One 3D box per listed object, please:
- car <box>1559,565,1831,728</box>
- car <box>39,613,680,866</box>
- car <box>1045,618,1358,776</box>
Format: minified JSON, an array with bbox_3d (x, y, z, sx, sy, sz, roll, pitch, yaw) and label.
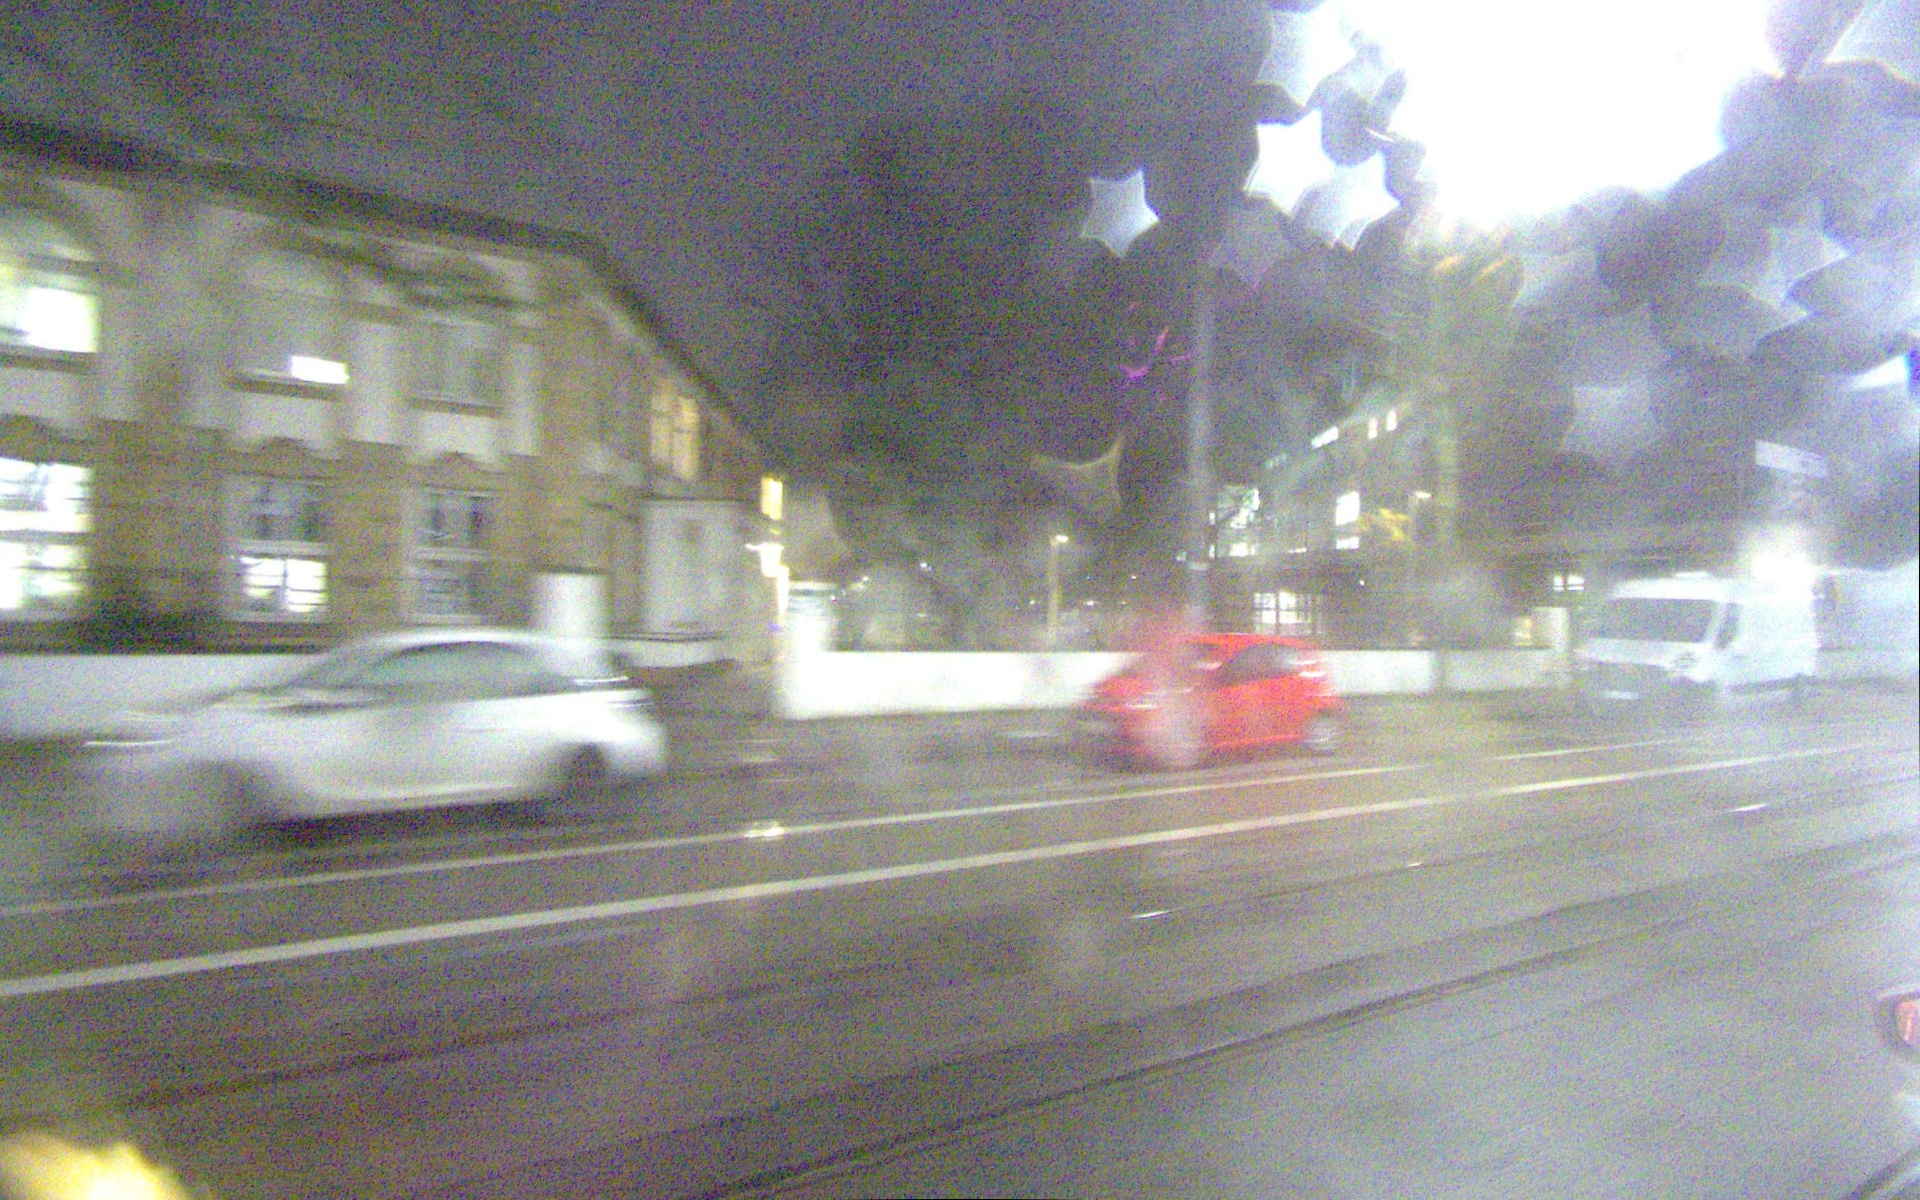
[{"bbox_3d":[13.235,0.741,17.969,5.546,2.532,2.013,1,1,-33],"label":"car"},{"bbox_3d":[-4.245,0.896,7.630,3.766,1.447,1.601,2,0,-32],"label":"car"},{"bbox_3d":[2.930,1.026,12.021,3.579,1.527,1.631,0,1,-33],"label":"car"}]
